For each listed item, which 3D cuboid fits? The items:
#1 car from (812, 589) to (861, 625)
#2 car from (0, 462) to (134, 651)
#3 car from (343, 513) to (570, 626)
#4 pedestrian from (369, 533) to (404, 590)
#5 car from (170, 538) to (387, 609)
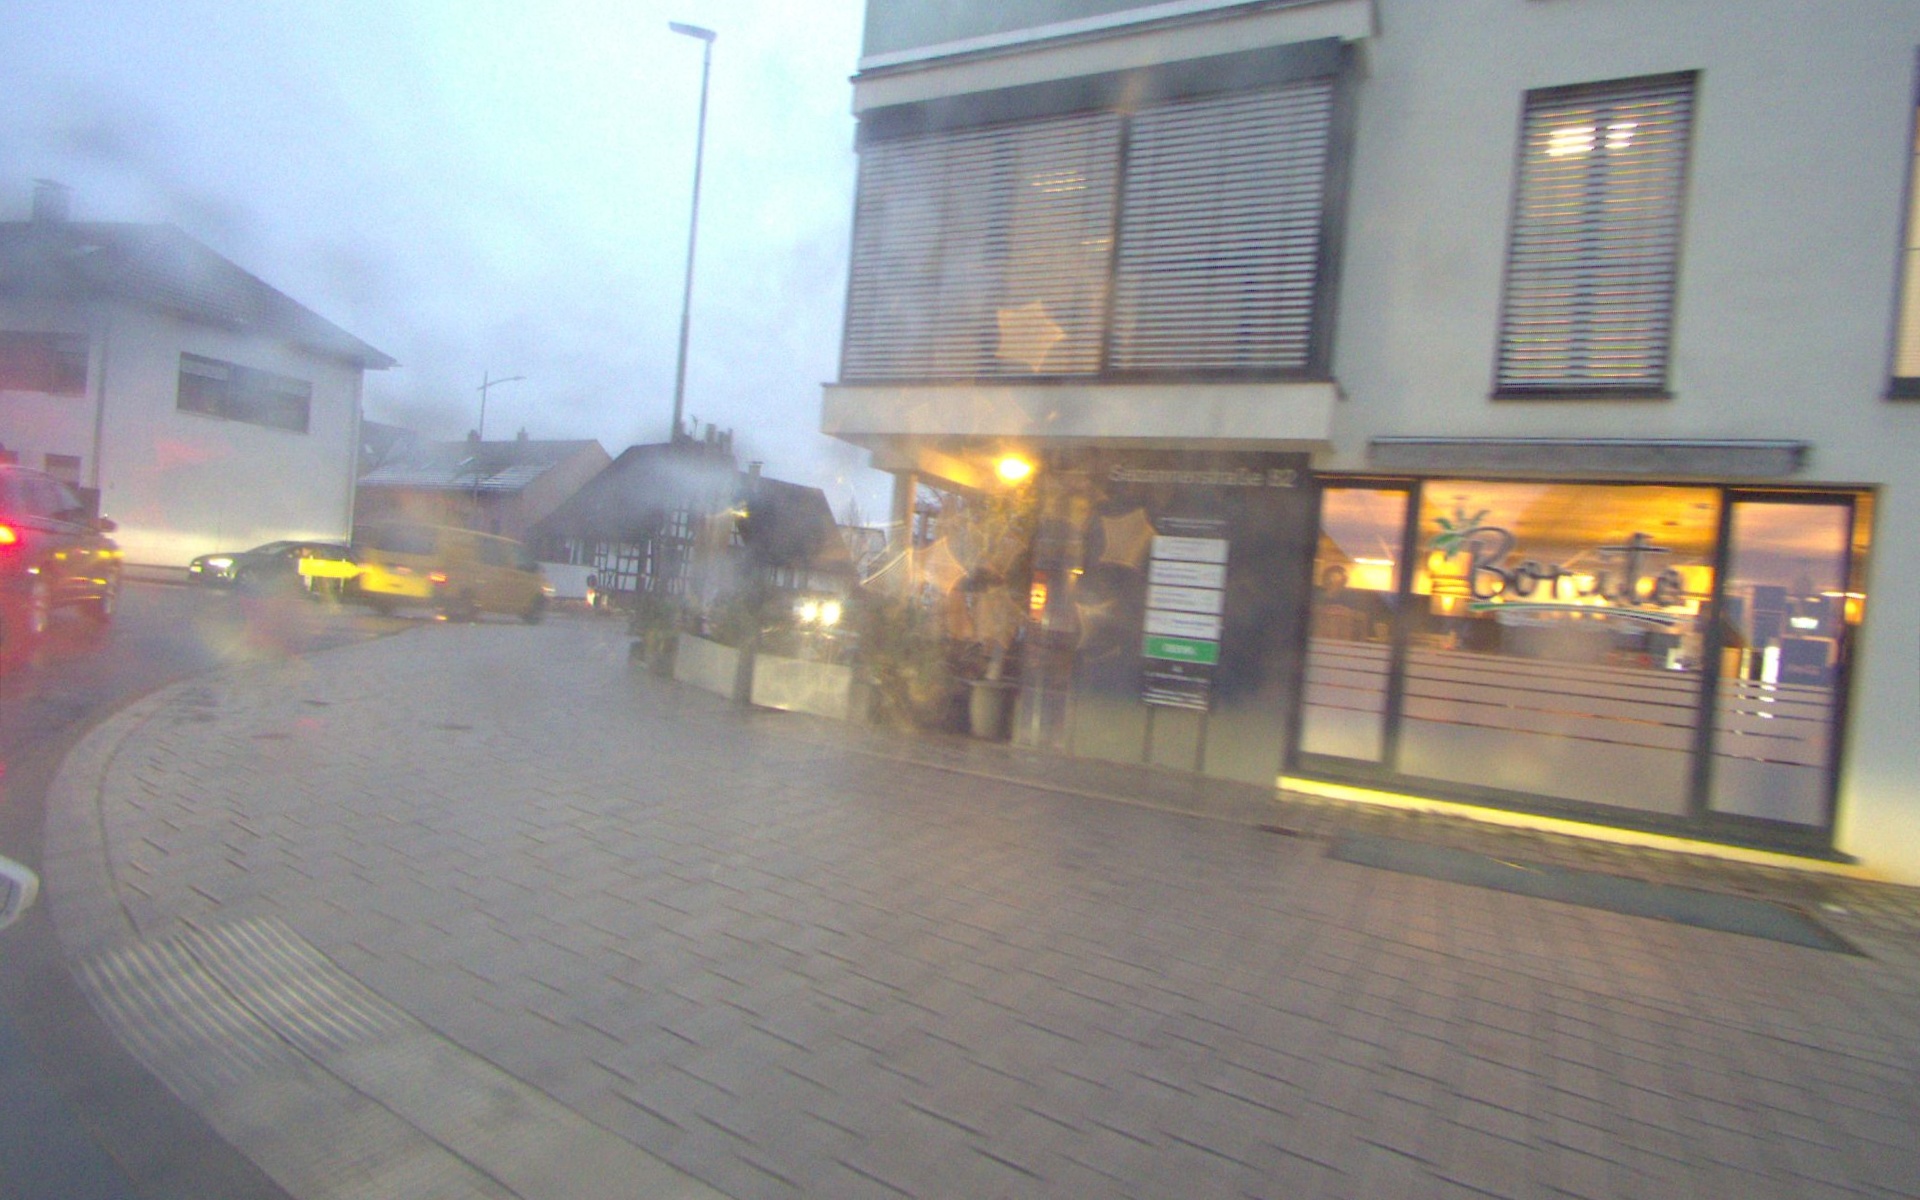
[{"bbox_3d":[-6.066,0.383,49.902,1.665,1.526,4.260,5,-1,2],"label":"car"},{"bbox_3d":[-9.994,-0.586,10.061,1.900,1.636,3.919,6,1,-30],"label":"car"},{"bbox_3d":[-10.946,-0.549,22.376,1.962,2.038,4.902,6,0,7],"label":"car"},{"bbox_3d":[-19.775,-1.311,34.673,0.628,1.855,0.714,9,2,39],"label":"pedestrian"},{"bbox_3d":[-17.466,-0.639,26.016,1.819,1.400,4.230,3,-2,27],"label":"car"}]
